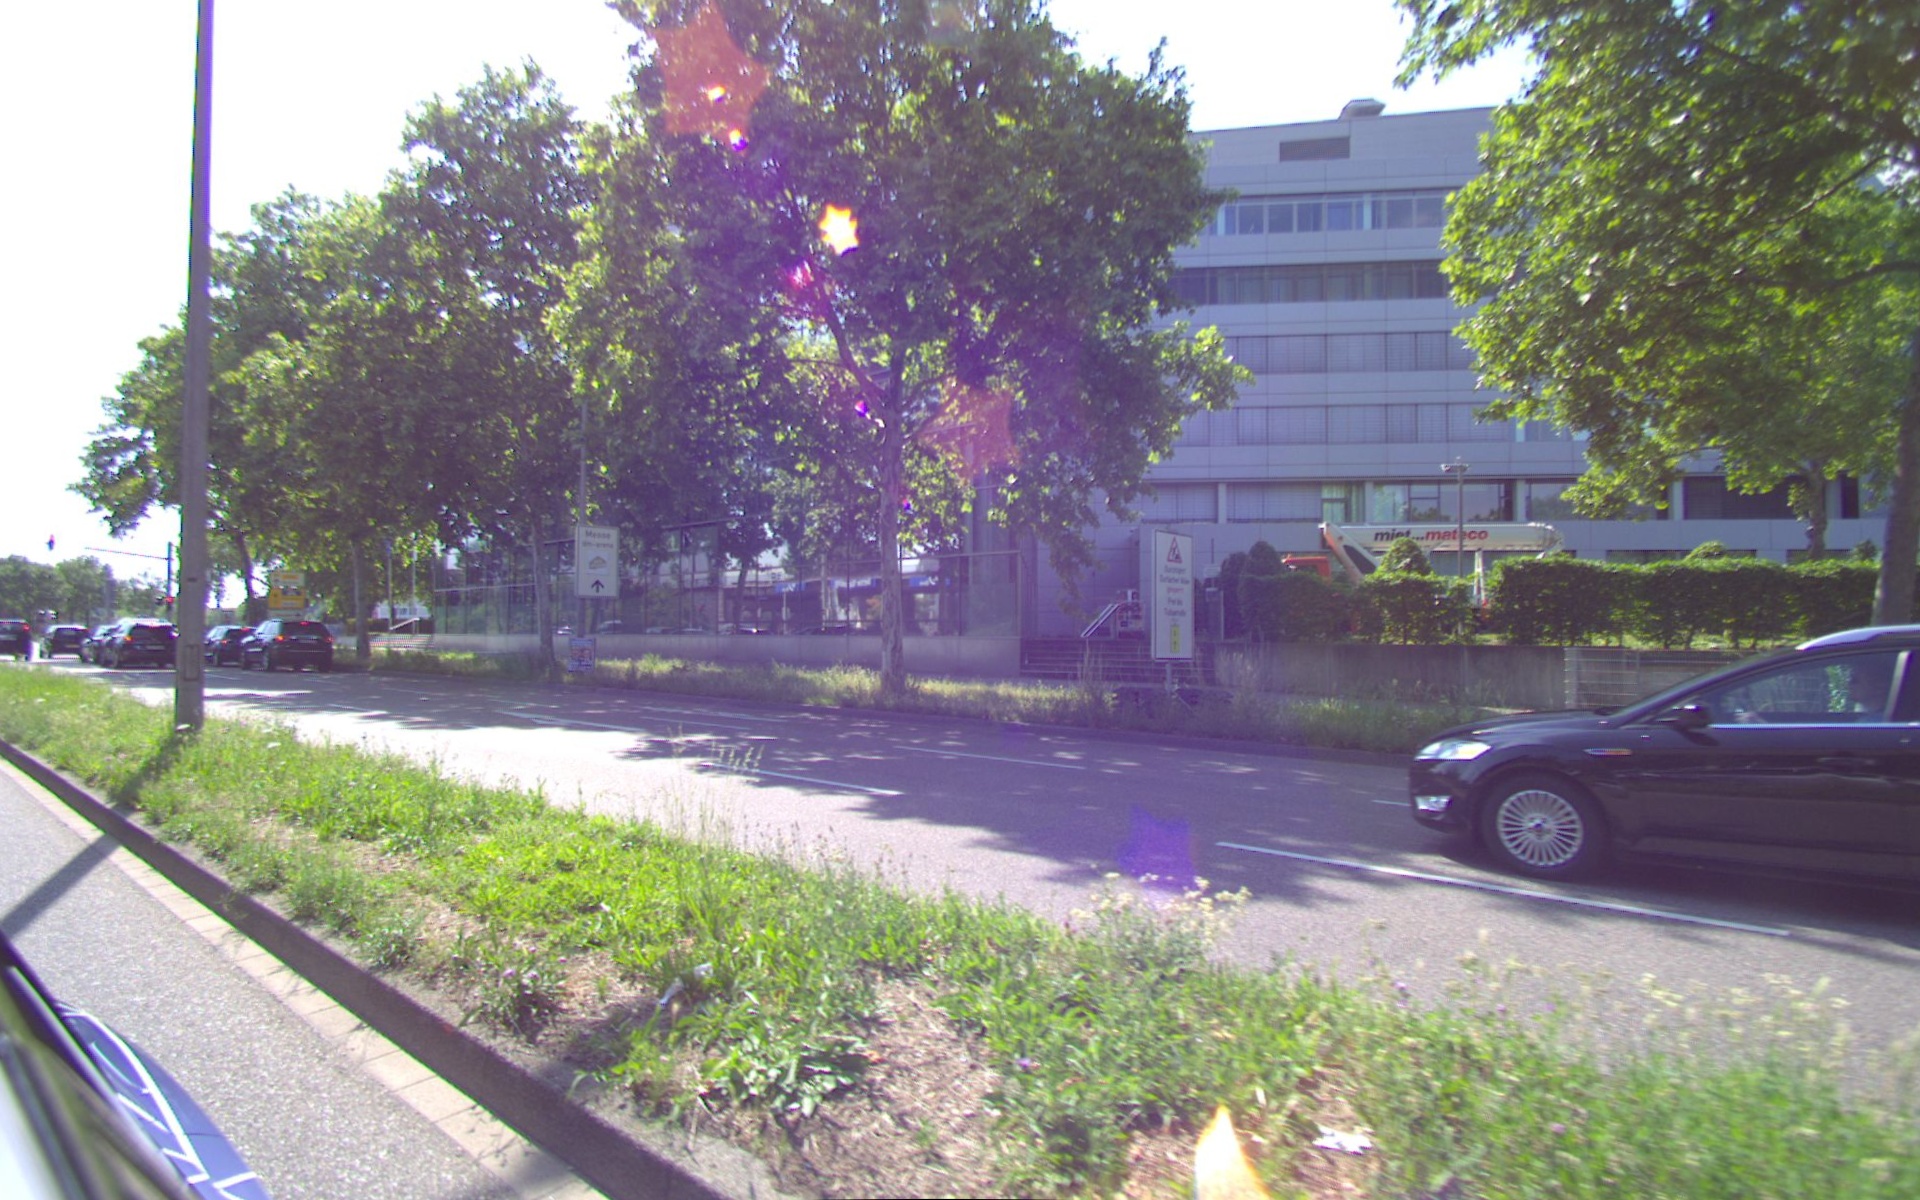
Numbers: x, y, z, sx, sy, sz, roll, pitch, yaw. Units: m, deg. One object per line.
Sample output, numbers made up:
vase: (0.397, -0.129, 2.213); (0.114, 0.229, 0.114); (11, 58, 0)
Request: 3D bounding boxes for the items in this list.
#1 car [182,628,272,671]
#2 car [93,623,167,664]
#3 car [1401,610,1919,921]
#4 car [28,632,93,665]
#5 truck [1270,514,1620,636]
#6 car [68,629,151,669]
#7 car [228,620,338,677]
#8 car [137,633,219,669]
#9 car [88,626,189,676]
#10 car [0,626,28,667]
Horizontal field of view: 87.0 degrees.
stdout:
car: (-28.749, 1.928, 39.648); (4.444, 1.603, 1.867); (-2, -4, 42)
car: (-40.842, 2.125, 49.769); (5.225, 1.934, 1.918); (-2, -3, 41)
car: (5.249, 0.811, 5.438); (4.984, 1.479, 1.808); (-1, -3, 40)
car: (-41.951, 2.243, 47.162); (3.955, 1.487, 1.743); (-2, -3, 41)
truck: (14.039, -0.649, 29.947); (8.875, 3.421, 2.669); (0, -2, 5)
car: (-33.709, 1.930, 40.087); (4.515, 1.473, 1.816); (-2, -5, 42)
car: (-23.548, 1.686, 35.124); (4.648, 1.849, 1.973); (-2, -4, 41)
car: (-33.971, 2.185, 43.895); (5.002, 1.460, 1.871); (-2, -4, 42)
car: (-28.857, 1.780, 35.507); (4.493, 1.623, 1.973); (-2, -4, 41)
car: (-39.909, 1.900, 41.582); (4.487, 1.628, 1.789); (-2, -3, 40)
